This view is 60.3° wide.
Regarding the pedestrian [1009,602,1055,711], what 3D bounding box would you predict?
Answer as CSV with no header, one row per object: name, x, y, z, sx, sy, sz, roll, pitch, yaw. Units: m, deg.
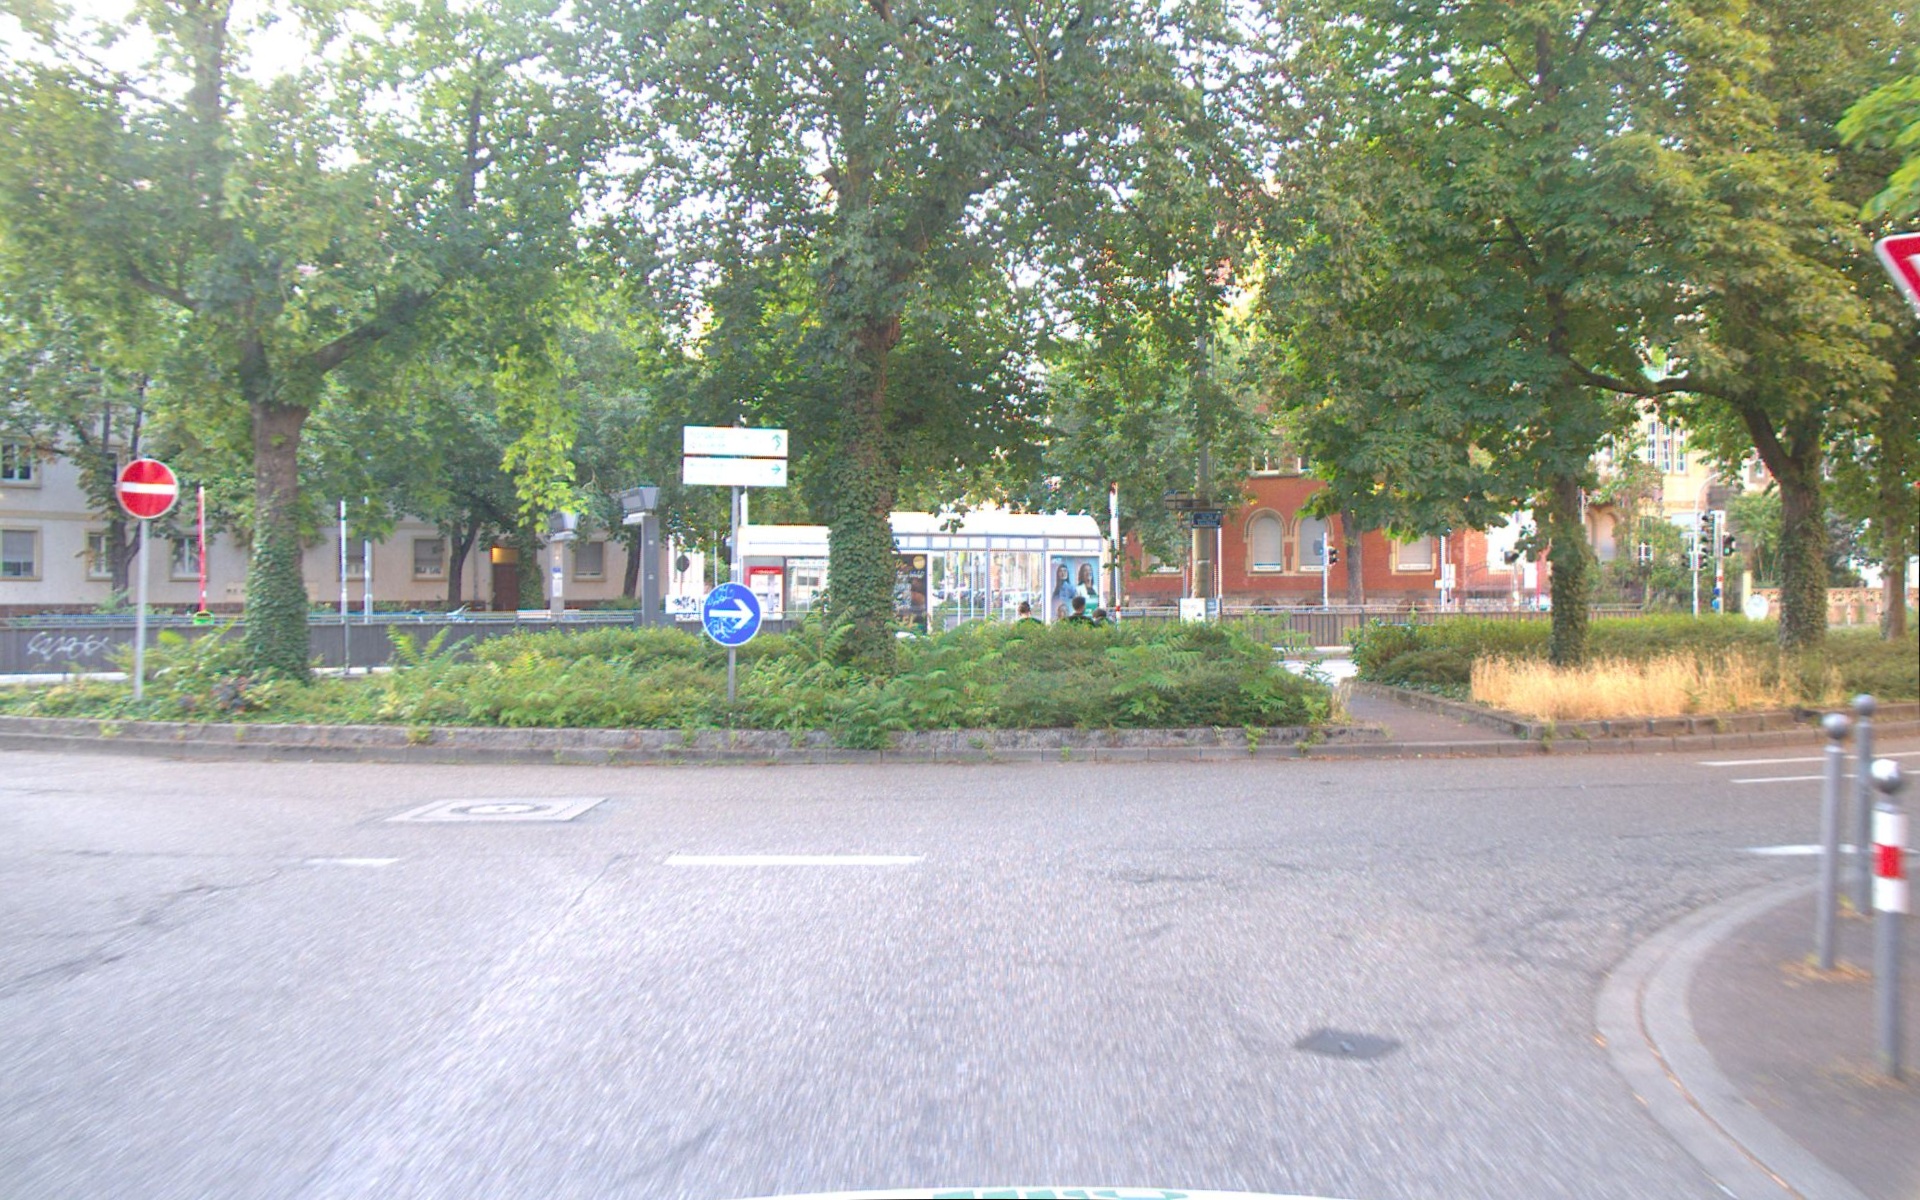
pedestrian,0.987,0.765,22.729,0.603,1.456,0.655,0,0,-1

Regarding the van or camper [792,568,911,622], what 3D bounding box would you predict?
van or camper,-6.769,-0.296,102.602,7.223,3.137,2.670,1,0,-6

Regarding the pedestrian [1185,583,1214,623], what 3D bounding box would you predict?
pedestrian,9.194,0.106,63.521,0.850,1.552,0.713,0,0,37

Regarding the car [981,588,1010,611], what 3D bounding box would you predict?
car,2.740,-0.027,128.126,1.954,1.733,4.717,1,0,-3

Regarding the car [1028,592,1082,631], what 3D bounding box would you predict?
car,4.347,0.503,76.231,1.954,1.733,4.717,1,0,-3

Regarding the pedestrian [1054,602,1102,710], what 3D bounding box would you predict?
pedestrian,1.626,0.758,22.840,0.603,1.456,0.655,0,0,-1

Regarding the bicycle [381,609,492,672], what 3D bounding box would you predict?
bicycle,-9.214,0.698,29.136,1.825,1.070,0.542,0,0,-24

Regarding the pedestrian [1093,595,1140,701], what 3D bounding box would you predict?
pedestrian,2.184,0.662,23.128,0.603,1.456,0.655,0,0,-1

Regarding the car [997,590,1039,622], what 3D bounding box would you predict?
car,3.195,0.322,92.528,1.954,1.733,4.717,1,0,-3

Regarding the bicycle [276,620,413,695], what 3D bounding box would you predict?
bicycle,-10.168,0.937,27.355,2.081,1.171,0.681,0,0,-25
